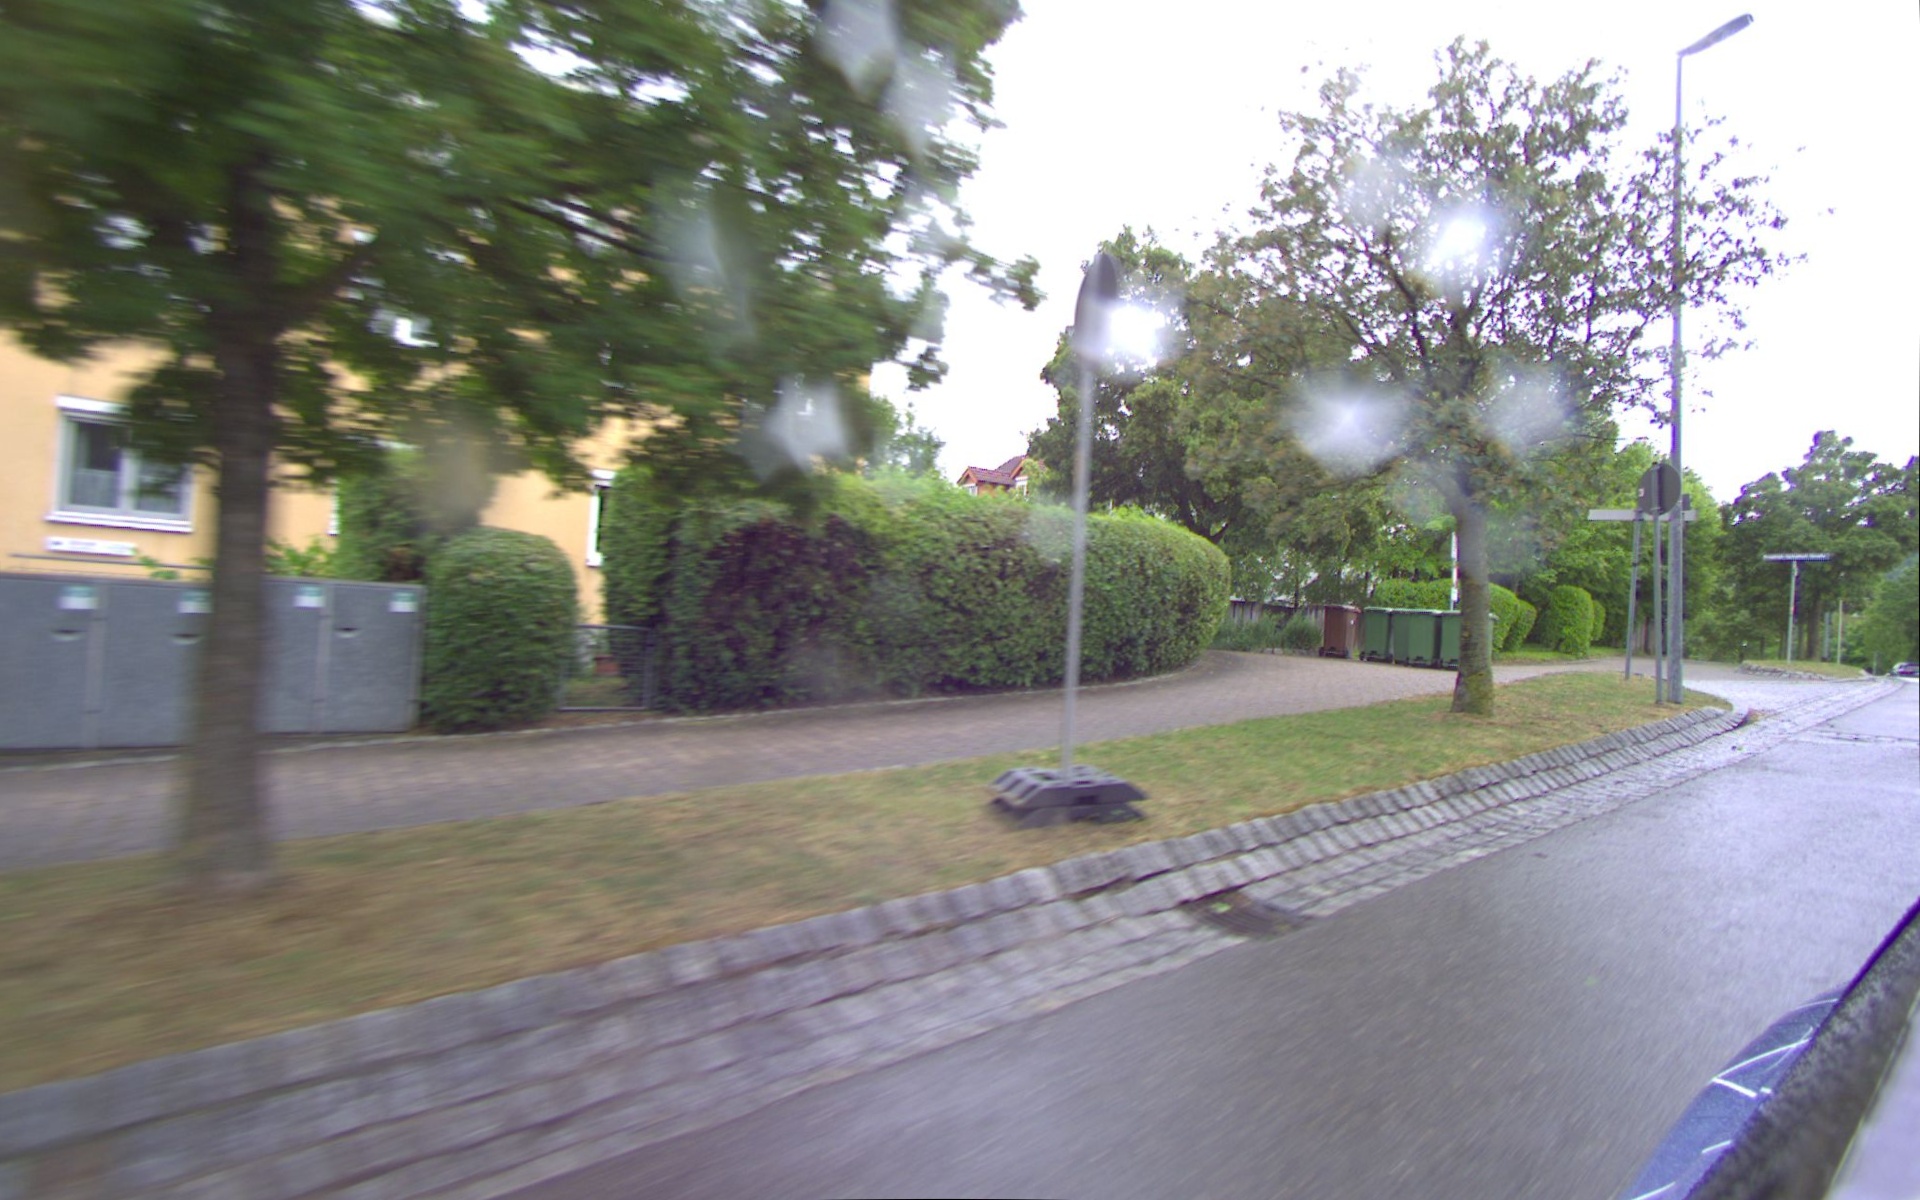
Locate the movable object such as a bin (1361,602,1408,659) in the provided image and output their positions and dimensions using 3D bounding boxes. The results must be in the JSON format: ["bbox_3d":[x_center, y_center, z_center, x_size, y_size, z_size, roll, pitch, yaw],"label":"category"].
[{"bbox_3d":[8.378,0.603,19.960,0.685,1.068,0.604,3,-1,-44],"label":"movable object such as a bin"}]

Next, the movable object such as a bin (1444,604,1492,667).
[{"bbox_3d":[9.017,0.628,17.964,0.656,1.087,0.542,3,-1,-44],"label":"movable object such as a bin"}]

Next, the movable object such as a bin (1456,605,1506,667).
[{"bbox_3d":[9.544,0.661,18.552,0.685,1.088,0.601,3,-1,-44],"label":"movable object such as a bin"}]

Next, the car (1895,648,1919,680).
[{"bbox_3d":[55.651,3.745,58.390,1.950,1.628,3.947,2,-4,35],"label":"car"}]

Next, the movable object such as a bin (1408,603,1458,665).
[{"bbox_3d":[8.624,0.613,18.454,0.685,1.086,0.596,3,-1,-44],"label":"movable object such as a bin"}]

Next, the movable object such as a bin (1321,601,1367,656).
[{"bbox_3d":[7.778,0.575,20.489,0.685,1.068,0.604,3,-1,-44],"label":"movable object such as a bin"}]

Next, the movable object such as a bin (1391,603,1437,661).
[{"bbox_3d":[8.719,0.615,19.433,0.685,1.080,0.577,3,-1,-44],"label":"movable object such as a bin"}]
